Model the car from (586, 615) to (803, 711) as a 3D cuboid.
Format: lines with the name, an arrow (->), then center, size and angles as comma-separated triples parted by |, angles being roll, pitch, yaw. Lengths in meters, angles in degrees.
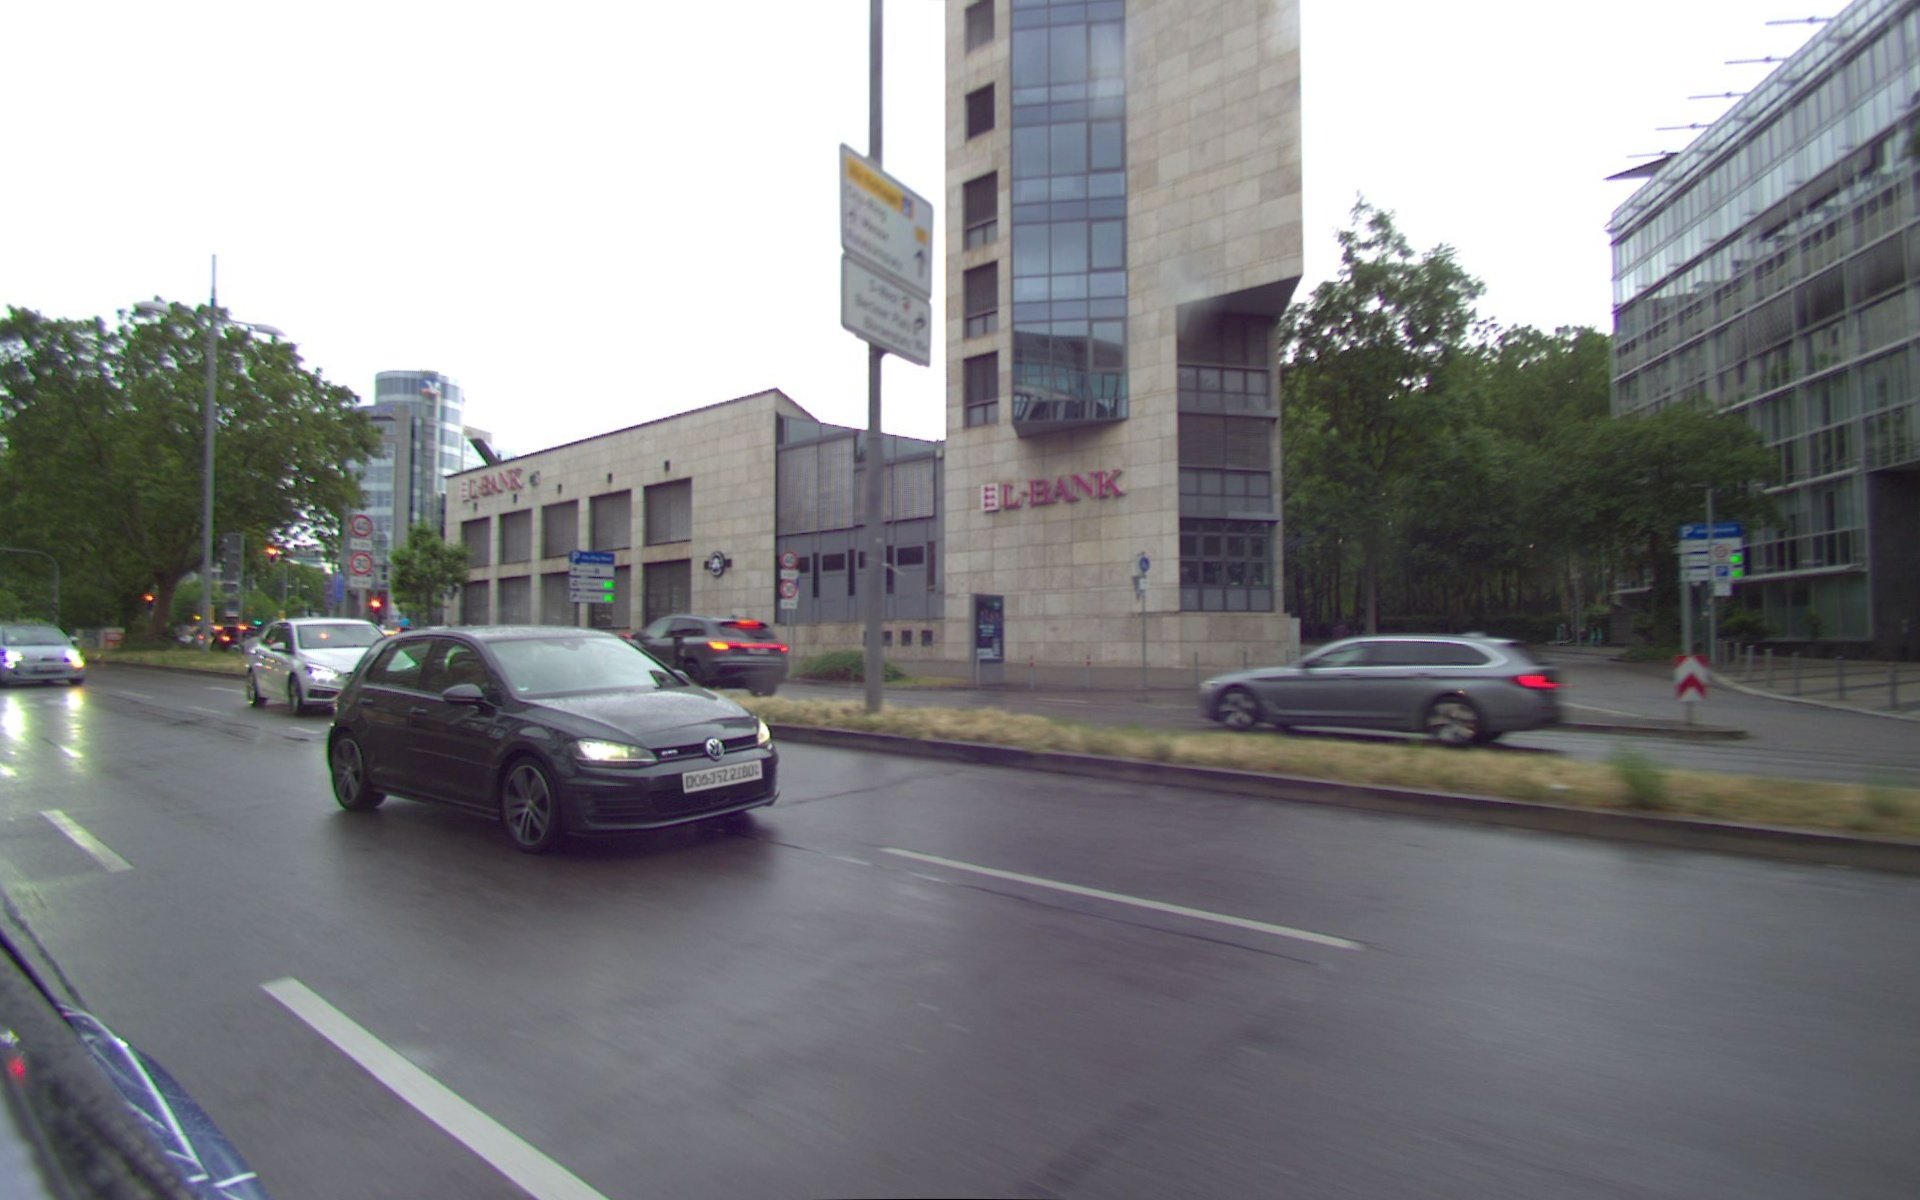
car -> -5.364, 1.166, 20.153 | 4.678, 1.693, 1.854 | -1, -2, 41

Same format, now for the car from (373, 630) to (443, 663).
car -> -27.027, 2.245, 49.483 | 4.641, 1.544, 1.707 | -1, -2, 44

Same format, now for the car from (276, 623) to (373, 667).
car -> -22.610, 1.569, 35.929 | 4.580, 1.448, 1.682 | -1, -2, 41

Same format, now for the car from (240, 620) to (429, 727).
car -> -10.789, 1.160, 17.346 | 4.000, 1.608, 1.757 | -1, -2, 43

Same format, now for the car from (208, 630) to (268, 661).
car -> -34.029, 2.135, 47.654 | 1.727, 1.375, 3.946 | 2, -2, -44

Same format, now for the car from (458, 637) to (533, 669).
car -> -22.192, 2.494, 48.284 | 1.727, 1.426, 4.708 | 2, -2, -44

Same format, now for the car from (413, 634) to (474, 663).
car -> -27.318, 2.559, 53.463 | 1.727, 1.426, 4.297 | 2, -2, -44

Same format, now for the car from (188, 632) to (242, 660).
car -> -39.020, 2.362, 52.967 | 1.727, 1.375, 4.134 | 2, -2, -44

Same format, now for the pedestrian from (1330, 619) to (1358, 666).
pedestrian -> 13.221, 1.464, 34.825 | 0.815, 1.582, 0.664 | -2, -3, 19

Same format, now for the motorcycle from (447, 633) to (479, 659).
motorcycle -> -22.049, 2.037, 44.864 | 2.032, 1.139, 0.543 | -3, -3, 42

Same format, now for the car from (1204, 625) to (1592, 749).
car -> 6.001, 1.099, 14.292 | 4.756, 1.449, 1.673 | -1, -2, 41

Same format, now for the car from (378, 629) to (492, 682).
car -> -14.893, 1.530, 28.618 | 4.117, 1.370, 1.579 | -1, -2, 43

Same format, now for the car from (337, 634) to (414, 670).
car -> -24.989, 2.178, 43.237 | 4.397, 1.443, 1.707 | -1, -2, 44

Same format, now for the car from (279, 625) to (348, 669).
car -> -31.512, 2.231, 49.294 | 1.809, 2.017, 5.108 | 2, -2, -44

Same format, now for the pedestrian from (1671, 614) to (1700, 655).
pedestrian -> 29.558, 1.394, 41.229 | 0.738, 1.643, 0.653 | -2, -3, 19

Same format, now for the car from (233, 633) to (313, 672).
car -> -28.776, 2.178, 42.331 | 4.314, 1.453, 1.839 | -1, -5, 44

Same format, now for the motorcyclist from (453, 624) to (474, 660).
motorcyclist -> -21.950, 1.860, 44.774 | 0.973, 1.541, 0.514 | -3, -3, 43

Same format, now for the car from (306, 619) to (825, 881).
car -> -3.116, 0.906, 7.643 | 4.116, 1.463, 1.768 | -2, -2, 37

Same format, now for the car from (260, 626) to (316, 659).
car -> -36.048, 2.244, 54.272 | 1.809, 1.652, 4.095 | 2, -2, -44

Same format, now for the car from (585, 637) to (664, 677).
car -> -13.093, 2.176, 39.386 | 1.574, 1.426, 3.403 | 2, -2, -44

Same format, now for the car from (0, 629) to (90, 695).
car -> -23.305, 1.516, 25.327 | 3.488, 1.452, 1.593 | -2, 1, 37

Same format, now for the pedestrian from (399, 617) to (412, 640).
pedestrian -> -46.514, 2.404, 84.828 | 1.125, 1.939, 0.582 | -2, -1, 41
